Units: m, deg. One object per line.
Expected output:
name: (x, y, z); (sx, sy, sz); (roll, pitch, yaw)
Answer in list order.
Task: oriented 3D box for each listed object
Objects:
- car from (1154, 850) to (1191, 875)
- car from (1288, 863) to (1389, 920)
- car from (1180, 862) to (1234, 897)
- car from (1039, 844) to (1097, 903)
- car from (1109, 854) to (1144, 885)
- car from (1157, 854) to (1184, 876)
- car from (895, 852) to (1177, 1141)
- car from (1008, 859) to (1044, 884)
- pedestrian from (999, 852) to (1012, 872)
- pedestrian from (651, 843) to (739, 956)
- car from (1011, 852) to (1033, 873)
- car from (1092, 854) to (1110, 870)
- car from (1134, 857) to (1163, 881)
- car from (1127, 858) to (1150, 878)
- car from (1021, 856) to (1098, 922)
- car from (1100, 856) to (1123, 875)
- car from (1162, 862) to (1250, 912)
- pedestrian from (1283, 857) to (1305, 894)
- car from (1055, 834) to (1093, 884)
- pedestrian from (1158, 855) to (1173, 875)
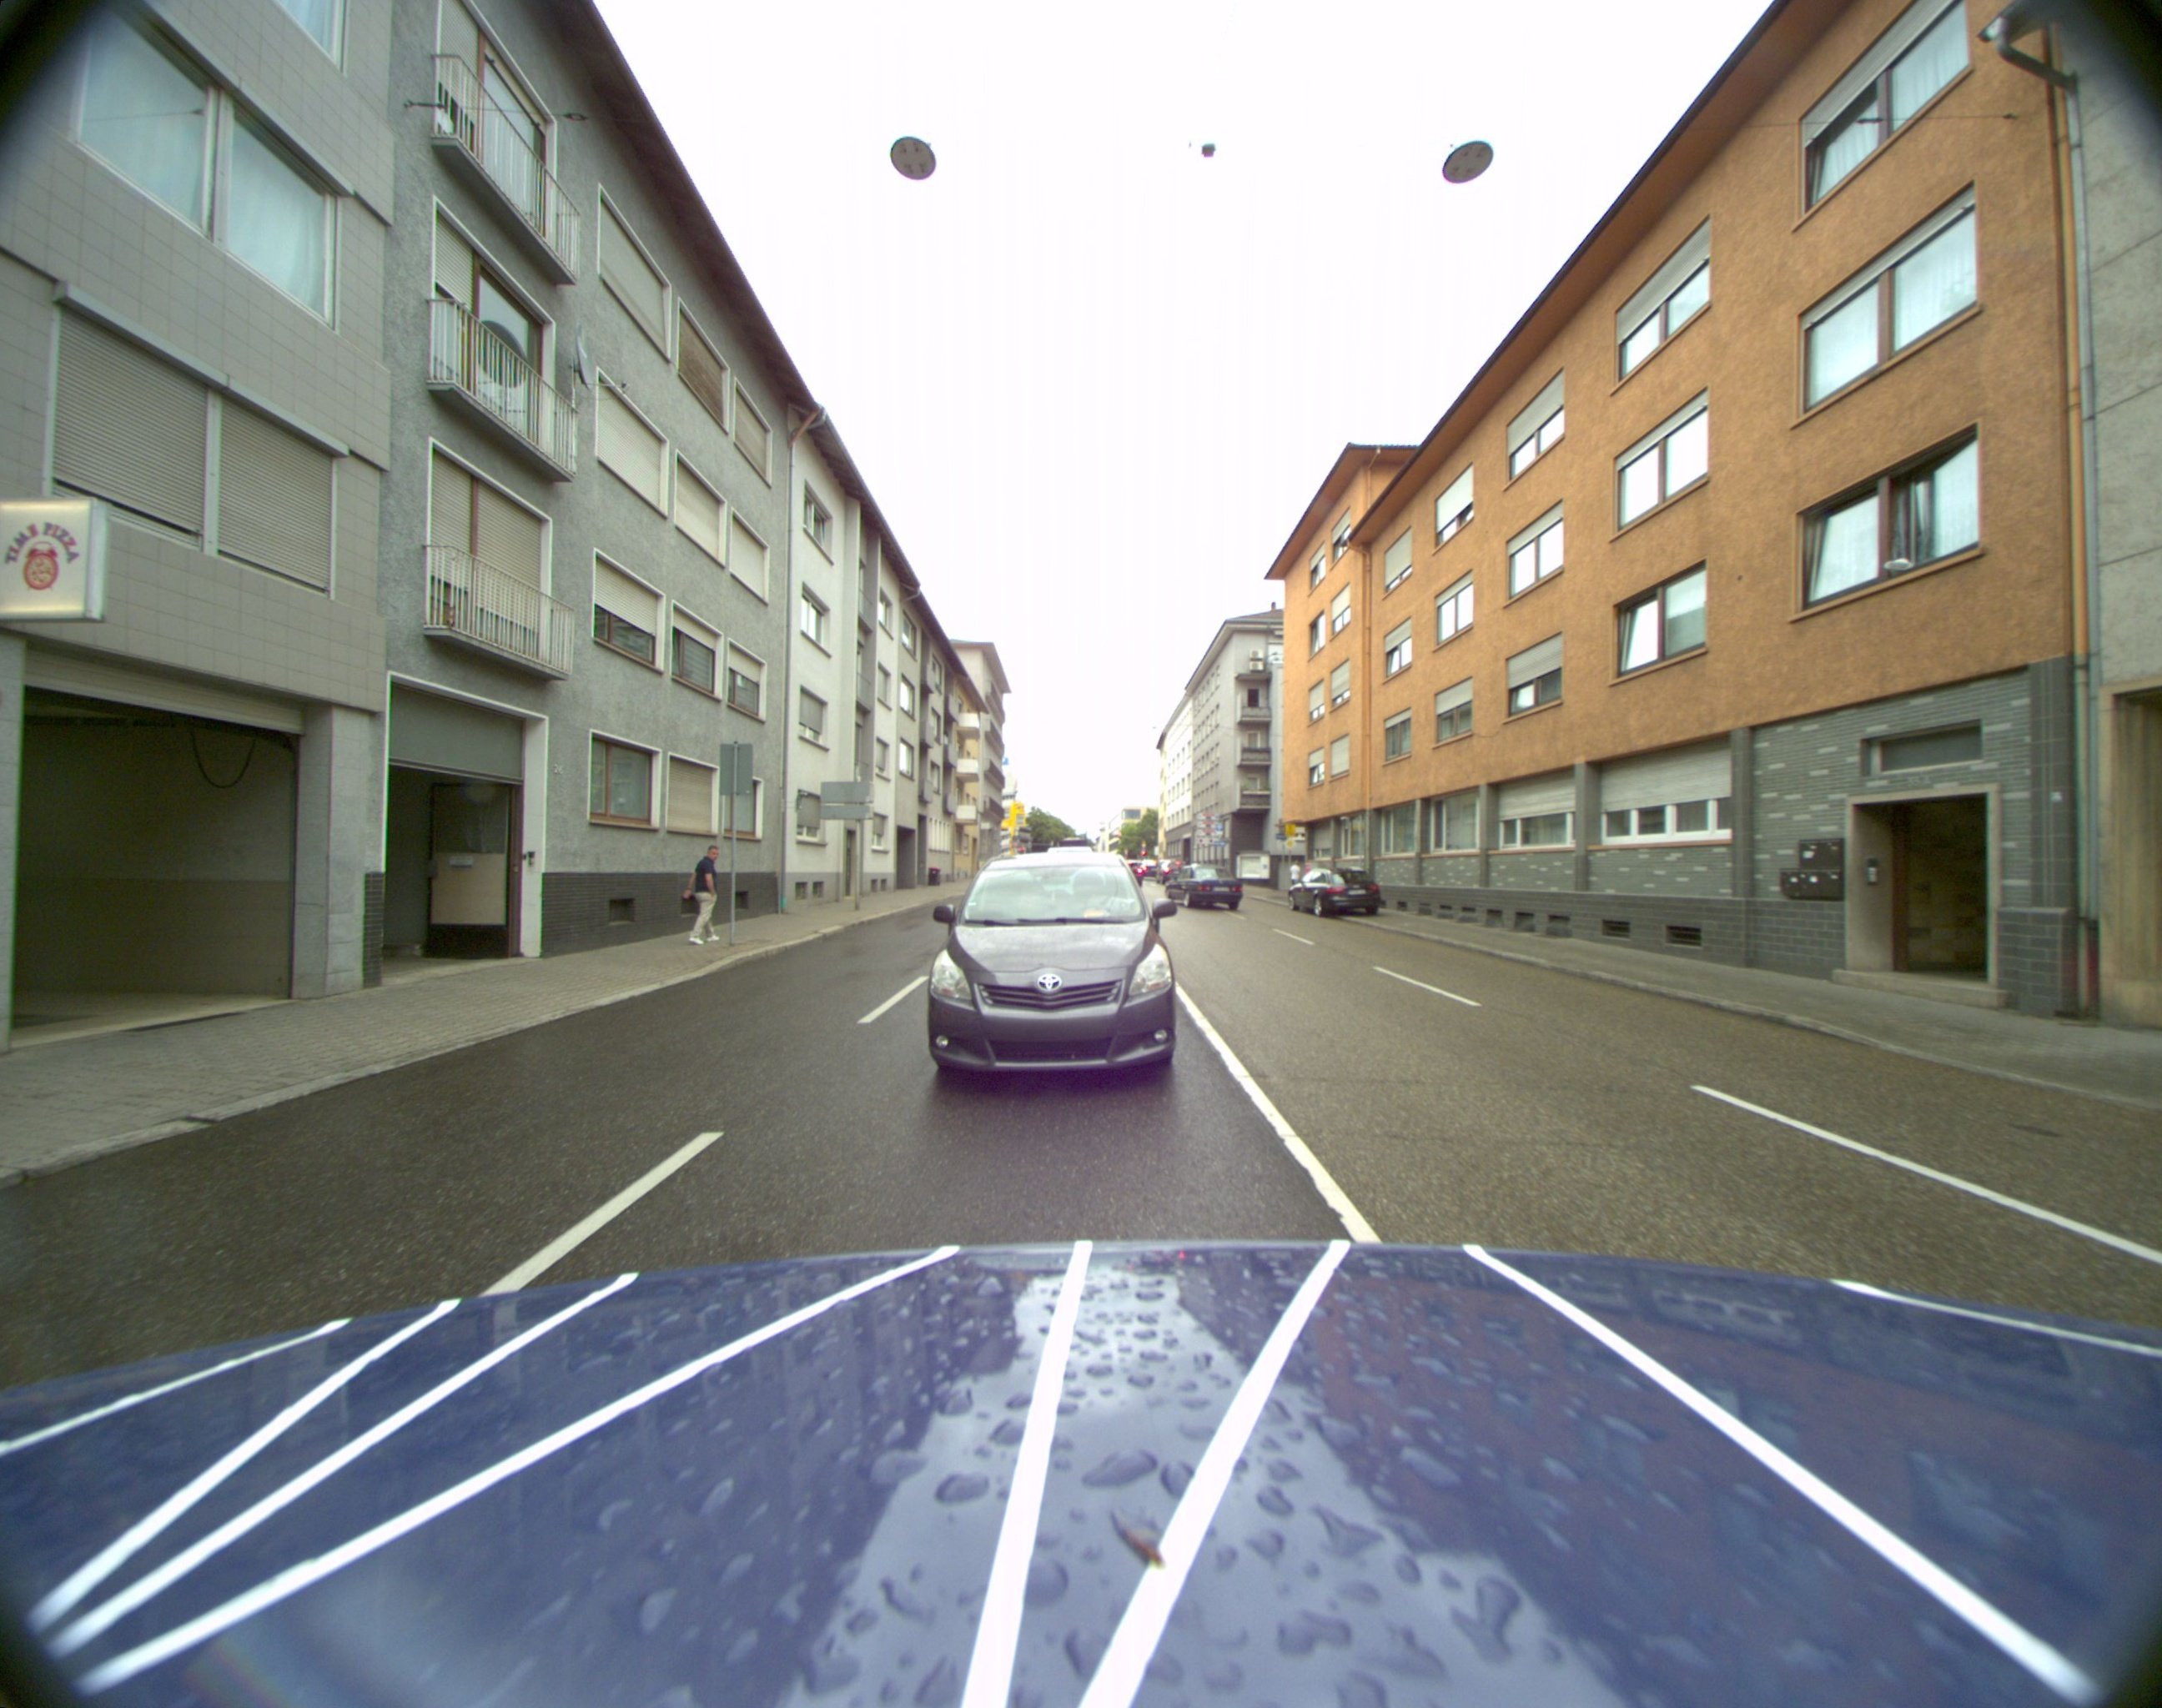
car: (5.774, 0.537, 48.423); (1.727, 1.464, 4.373); (2, 0, -1)
car: (8.030, 1.118, 24.119); (1.799, 1.466, 4.217); (-2, 1, 1)
car: (5.892, 1.167, 36.042); (1.699, 1.362, 4.365); (3, 1, -1)
car: (-0.411, 0.612, 27.254); (1.856, 1.882, 4.217); (-2, 1, 1)
car: (2.623, 0.877, 44.523); (1.699, 1.571, 4.216); (2, 1, -1)
car: (7.772, 0.957, 66.411); (1.856, 1.712, 4.217); (-2, 1, 1)
car: (-0.253, 0.891, 6.861); (1.699, 1.712, 4.217); (-2, 1, 1)
car: (-3.433, 1.070, 48.073); (1.856, 1.369, 4.217); (-2, 1, 1)
pedestrian: (-6.827, 0.712, 68.836); (1.119, 1.741, 0.961); (1, 1, -5)
pedestrian: (-6.807, 0.766, 13.457); (0.871, 1.855, 1.120); (4, 1, 1)
car: (-5.174, 0.733, 66.535); (1.856, 1.663, 4.215); (-2, 1, -4)
car: (2.034, 0.774, 78.501); (1.622, 1.530, 4.216); (2, 1, -1)
car: (5.206, 1.130, 58.761); (1.699, 1.530, 4.435); (4, 1, 0)
car: (5.406, 1.323, 72.315); (1.856, 1.651, 4.610); (-2, 1, 1)
car: (-0.516, 0.873, 20.749); (1.856, 1.524, 3.792); (-2, 1, 1)
car: (2.449, 0.894, 61.092); (1.699, 1.362, 4.217); (2, 1, 1)
car: (4.045, 1.031, 25.389); (1.604, 1.362, 4.358); (3, 0, -8)
pedestrian: (10.014, 1.001, 35.788); (0.768, 1.630, 1.023); (-2, 1, 5)
car: (-0.358, 0.262, 44.297); (2.033, 2.731, 4.368); (-2, 1, 1)
pedestrian: (8.399, 1.084, 75.720); (1.309, 2.002, 1.258); (-2, 1, 1)
